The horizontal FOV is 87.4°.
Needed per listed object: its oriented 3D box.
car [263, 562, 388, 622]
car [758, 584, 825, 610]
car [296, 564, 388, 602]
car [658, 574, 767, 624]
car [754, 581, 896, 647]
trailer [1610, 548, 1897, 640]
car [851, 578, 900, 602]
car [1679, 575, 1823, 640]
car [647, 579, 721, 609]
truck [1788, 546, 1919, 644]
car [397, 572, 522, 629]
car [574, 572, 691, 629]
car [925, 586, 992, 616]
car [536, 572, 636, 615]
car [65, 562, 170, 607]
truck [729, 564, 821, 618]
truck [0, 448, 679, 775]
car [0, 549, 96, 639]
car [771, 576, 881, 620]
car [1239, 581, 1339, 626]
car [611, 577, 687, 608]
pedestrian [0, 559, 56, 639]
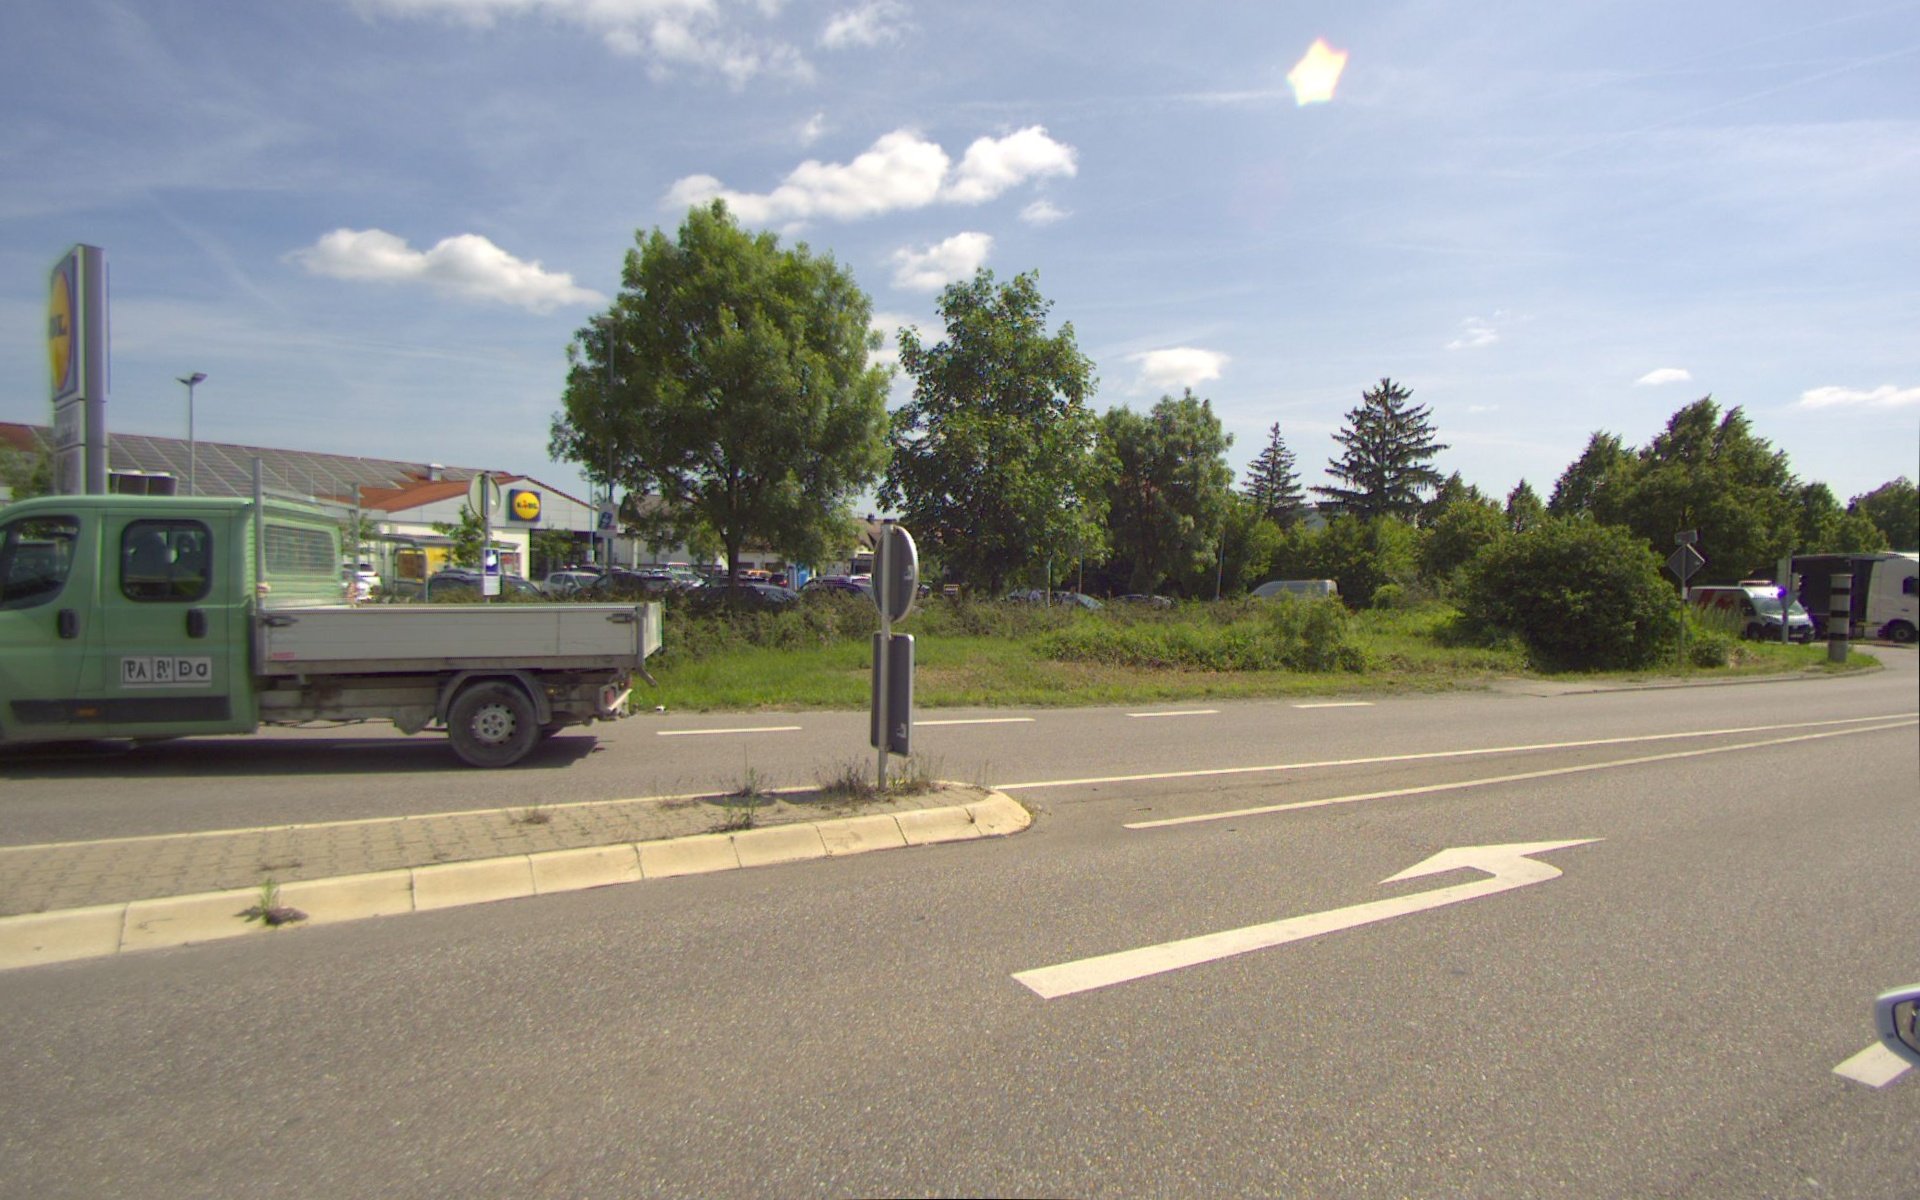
[{"bbox_3d":[-19.732,-0.282,31.183,4.353,1.698,1.859,3,1,37],"label":"car"},{"bbox_3d":[-11.076,-0.182,66.289,1.849,1.562,4.243,2,0,36],"label":"car"},{"bbox_3d":[-26.344,-0.736,42.765,3.932,1.461,1.880,2,1,34],"label":"car"},{"bbox_3d":[-9.150,-0.051,37.015,3.939,1.711,1.918,2,0,40],"label":"car"},{"bbox_3d":[-3.788,0.356,27.838,3.941,1.679,1.686,2,0,41],"label":"car"},{"bbox_3d":[40.148,-0.359,52.019,2.746,4.116,13.712,0,1,-7],"label":"trailer"},{"bbox_3d":[-6.821,-0.796,81.761,1.866,1.782,3.988,2,0,34],"label":"car"},{"bbox_3d":[34.716,0.265,44.377,2.081,2.690,5.988,0,1,5],"label":"car"},{"bbox_3d":[-15.459,-0.353,56.103,4.193,1.562,1.871,2,0,39],"label":"car"},{"bbox_3d":[41.096,-0.237,44.891,2.749,4.116,5.830,0,1,-12],"label":"truck"},{"bbox_3d":[-15.048,-0.015,30.127,4.081,1.522,1.776,3,2,38],"label":"car"},{"bbox_3d":[-11.082,0.003,33.880,3.939,1.697,1.903,3,2,39],"label":"car"},{"bbox_3d":[-0.056,0.089,59.426,1.883,1.662,3.985,2,0,37],"label":"car"},{"bbox_3d":[-14.544,-0.264,39.033,3.936,1.549,1.773,2,0,37],"label":"car"},{"bbox_3d":[-30.299,-0.567,36.097,3.932,1.461,1.880,2,1,34],"label":"car"},{"bbox_3d":[-8.721,-0.427,47.254,3.932,2.397,1.995,2,0,33],"label":"truck"},{"bbox_3d":[-5.800,0.099,8.862,6.241,2.407,2.243,1,1,-13],"label":"truck"},{"bbox_3d":[-20.856,-0.181,22.176,4.101,1.836,1.873,2,1,37],"label":"car"},{"bbox_3d":[-5.658,-0.089,42.251,4.353,1.717,1.994,1,0,33],"label":"car"},{"bbox_3d":[17.196,0.161,52.625,4.524,2.209,1.993,2,1,37],"label":"car"},{"bbox_3d":[-16.720,-0.418,53.950,4.193,1.562,1.871,2,0,39],"label":"car"},{"bbox_3d":[-19.015,-0.021,20.379,0.692,1.596,0.807,2,0,32],"label":"pedestrian"}]
